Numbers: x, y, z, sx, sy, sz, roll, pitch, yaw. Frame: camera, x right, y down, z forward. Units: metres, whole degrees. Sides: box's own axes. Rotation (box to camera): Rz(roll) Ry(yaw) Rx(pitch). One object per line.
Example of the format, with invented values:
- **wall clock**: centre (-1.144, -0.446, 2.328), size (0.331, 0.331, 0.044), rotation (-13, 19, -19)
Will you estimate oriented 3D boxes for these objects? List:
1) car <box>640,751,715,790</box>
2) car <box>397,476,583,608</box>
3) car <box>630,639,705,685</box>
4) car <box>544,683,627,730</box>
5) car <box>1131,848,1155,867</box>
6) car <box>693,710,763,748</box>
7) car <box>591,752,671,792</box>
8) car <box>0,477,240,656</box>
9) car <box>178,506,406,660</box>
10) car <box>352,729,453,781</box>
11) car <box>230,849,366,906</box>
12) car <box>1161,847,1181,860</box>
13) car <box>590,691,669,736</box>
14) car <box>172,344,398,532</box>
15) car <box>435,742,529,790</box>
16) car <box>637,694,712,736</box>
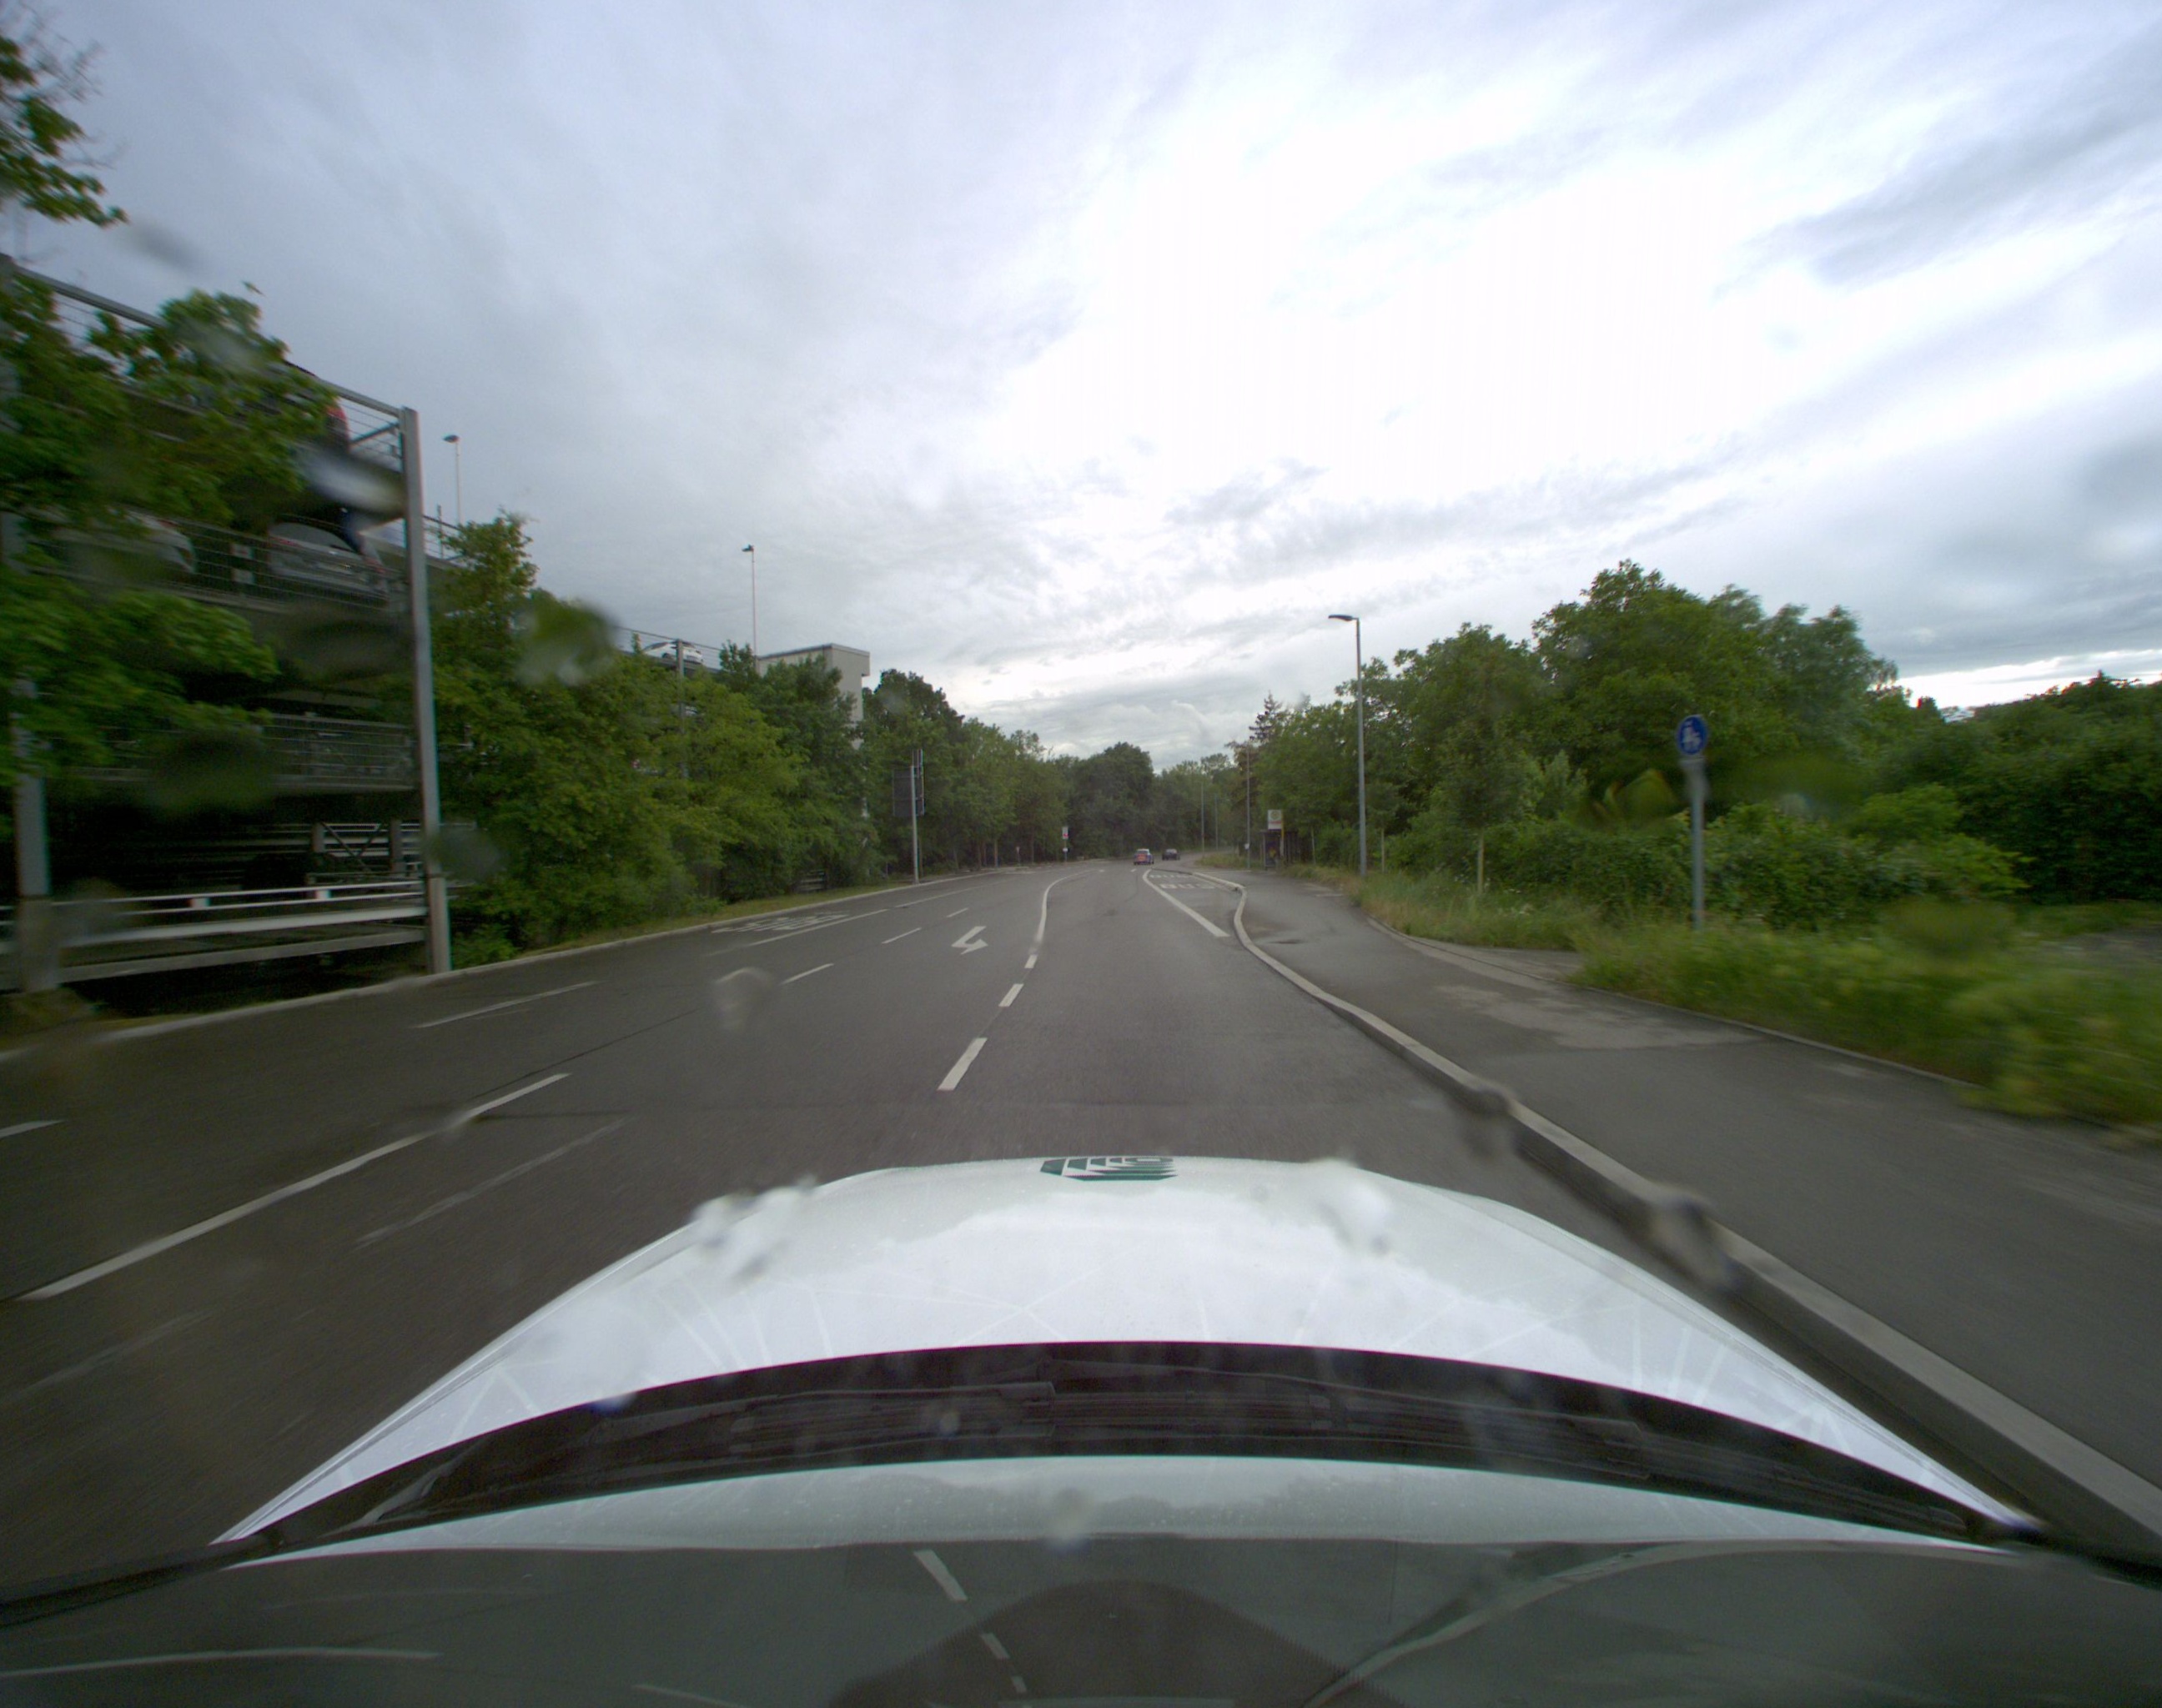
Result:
- **car**: centre (-20.204, -4.158, 40.742), size (3.204, 1.519, 1.595), rotation (-3, 0, 23)
- **car**: centre (-13.789, -7.113, 18.970), size (3.948, 1.519, 2.013), rotation (-3, 0, 30)
- **car**: centre (-20.632, -9.548, 40.637), size (3.204, 1.519, 1.595), rotation (-3, 0, 23)
- **car**: centre (-22.389, -6.632, 36.804), size (3.204, 1.519, 1.595), rotation (-3, 0, 23)
- **car**: centre (6.451, 0.339, 84.074), size (1.981, 1.689, 4.012), rotation (-3, 2, 10)
- **car**: centre (-19.043, -6.711, 43.939), size (3.204, 1.519, 1.595), rotation (-3, 0, 23)
- **car**: centre (-21.349, -3.853, 38.652), size (3.204, 1.519, 1.595), rotation (-3, 0, 23)
- **car**: centre (-16.072, -4.567, 13.490), size (3.948, 1.519, 2.013), rotation (-3, 0, 30)
- **car**: centre (-14.821, -4.921, 15.287), size (3.948, 1.519, 2.013), rotation (-3, 0, 30)
- **car**: centre (-25.609, -3.698, 30.741), size (3.204, 1.519, 1.595), rotation (-3, 0, 23)
- **car**: centre (-22.815, 0.687, 23.731), size (3.432, 1.519, 1.595), rotation (-2, 0, 23)
- **car**: centre (11.526, -0.047, 104.217), size (1.913, 1.486, 3.814), rotation (-2, 2, 14)
- **car**: centre (-21.447, -6.646, 38.663), size (3.204, 1.519, 1.595), rotation (-3, 0, 23)
- **car**: centre (-15.064, -7.656, 15.392), size (3.948, 1.519, 2.013), rotation (-3, 0, 30)
- **car**: centre (-24.131, -3.520, 32.820), size (3.204, 1.519, 1.595), rotation (-3, 0, 23)
- **car**: centre (-20.345, -6.936, 40.752), size (3.204, 1.519, 1.595), rotation (-3, 0, 23)
